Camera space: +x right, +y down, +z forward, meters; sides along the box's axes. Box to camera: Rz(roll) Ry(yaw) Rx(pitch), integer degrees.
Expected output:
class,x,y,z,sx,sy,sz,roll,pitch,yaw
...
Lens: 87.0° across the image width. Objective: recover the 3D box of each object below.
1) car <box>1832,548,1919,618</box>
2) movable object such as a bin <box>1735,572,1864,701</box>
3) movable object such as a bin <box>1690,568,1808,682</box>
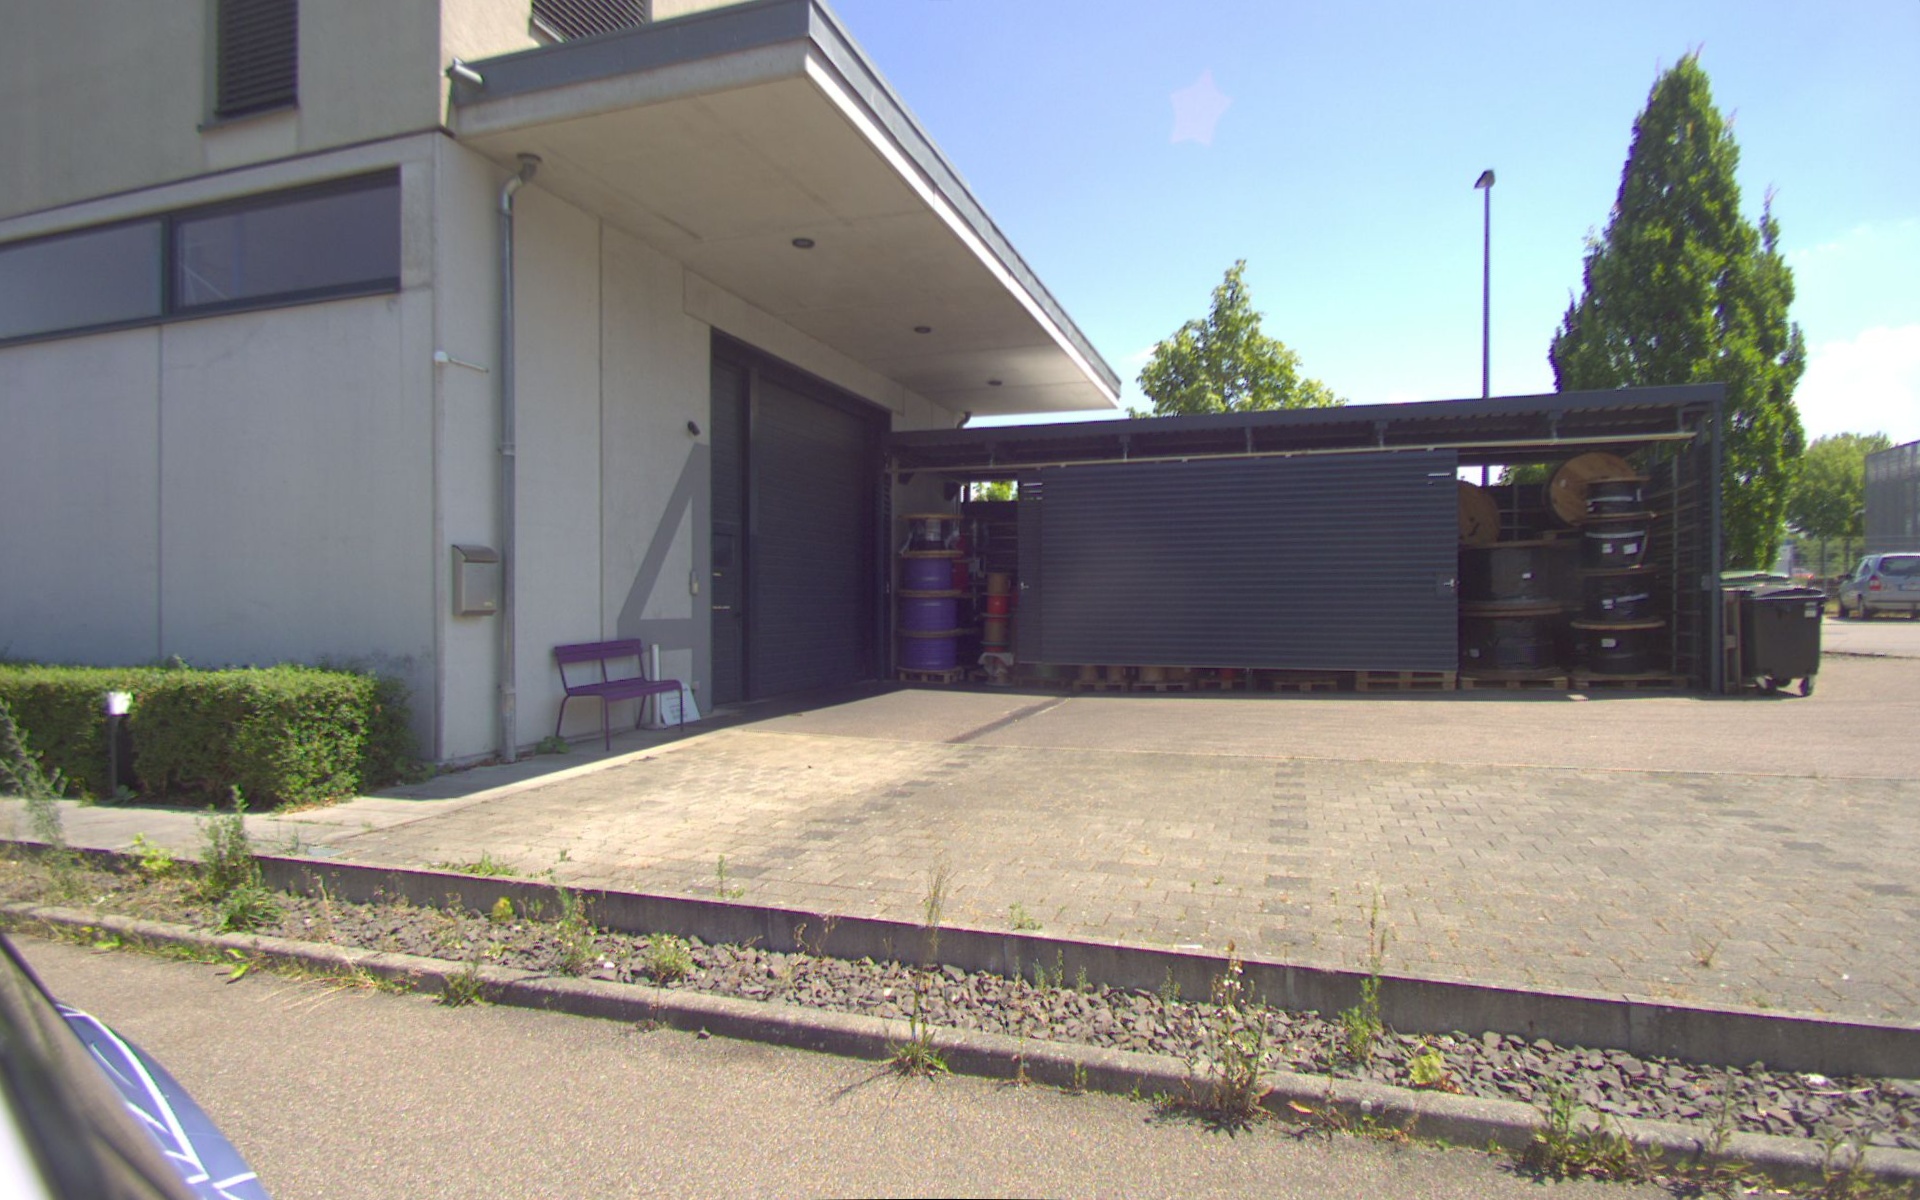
class,x,y,z,sx,sy,sz,roll,pitch,yaw
car,22.915,-0.434,24.580,1.994,1.602,3.957,1,2,32
movable object such as a bin,9.197,0.383,11.127,0.879,1.355,0.807,-1,0,24
movable object such as a bin,9.645,0.293,12.411,0.967,1.340,0.704,-1,0,24
